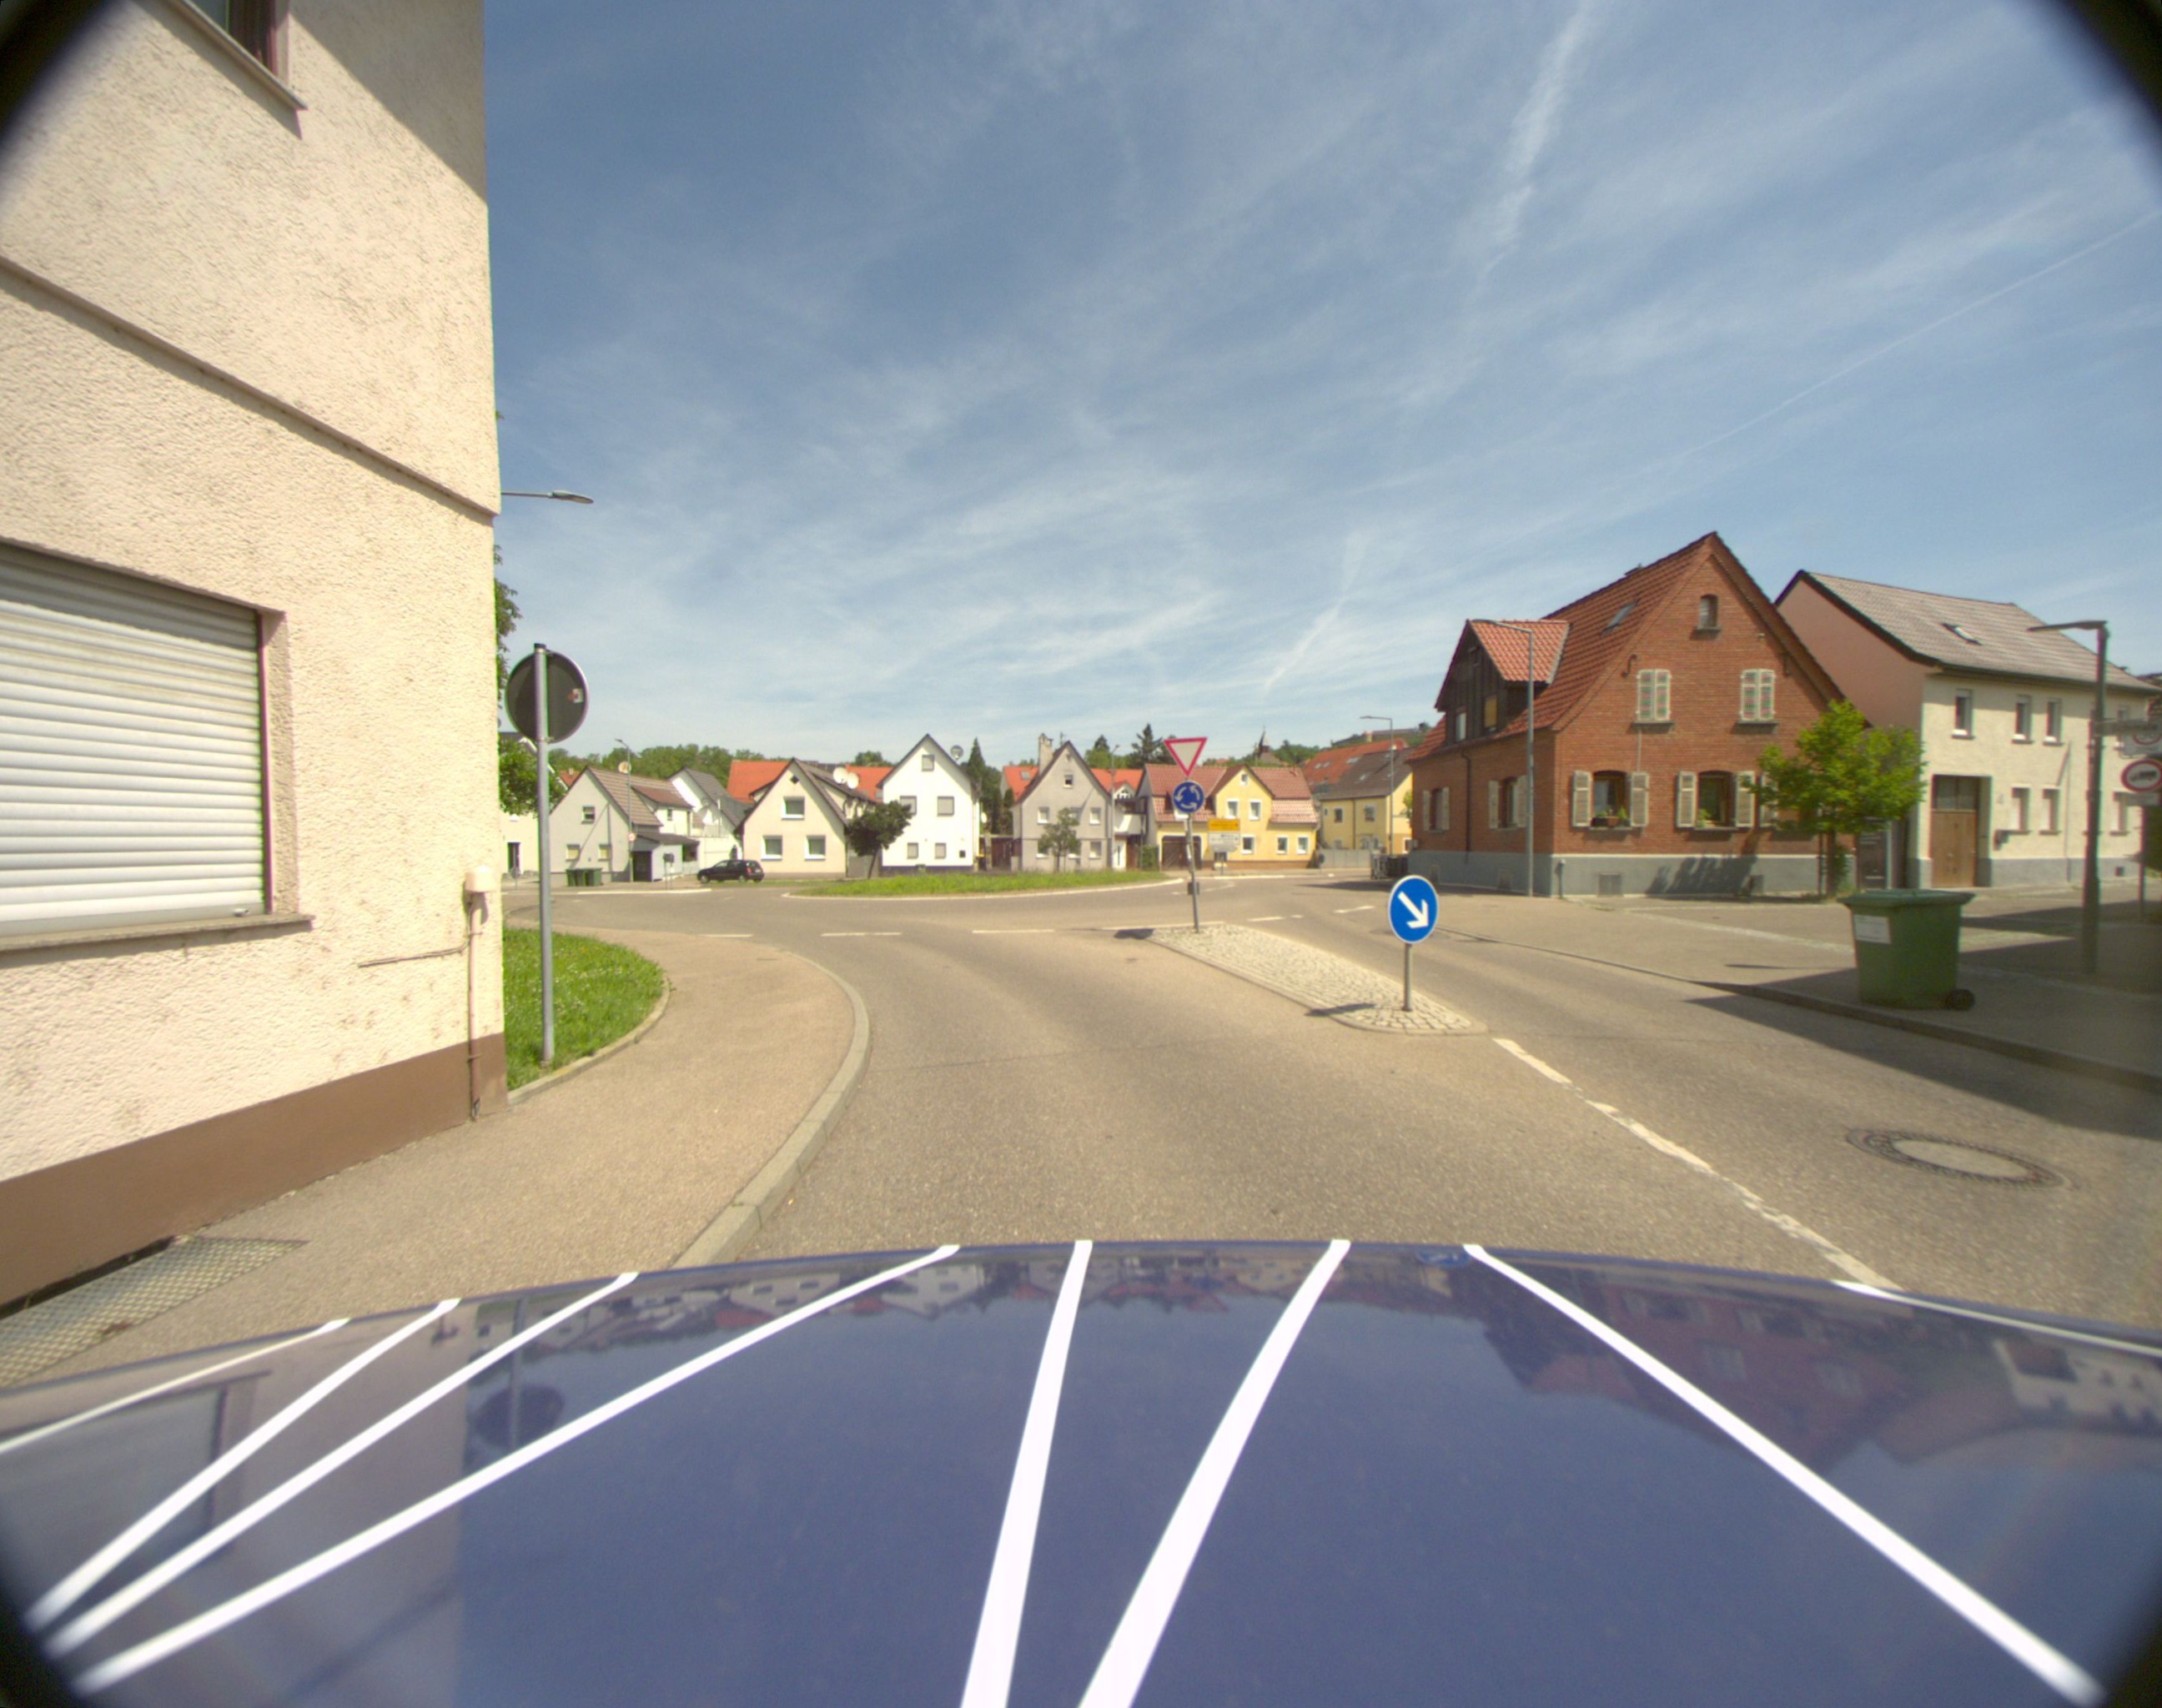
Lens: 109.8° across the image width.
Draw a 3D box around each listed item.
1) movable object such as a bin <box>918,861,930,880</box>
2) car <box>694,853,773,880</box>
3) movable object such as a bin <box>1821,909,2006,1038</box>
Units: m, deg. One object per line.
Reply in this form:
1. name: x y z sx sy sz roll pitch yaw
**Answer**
1. movable object such as a bin: -9.060 0.959 43.826 0.580 1.042 0.902 -1 0 -17
2. car: -20.405 0.717 44.716 3.843 1.433 1.778 0 4 4
3. movable object such as a bin: 7.564 1.055 6.956 0.810 1.039 0.827 -1 1 12
